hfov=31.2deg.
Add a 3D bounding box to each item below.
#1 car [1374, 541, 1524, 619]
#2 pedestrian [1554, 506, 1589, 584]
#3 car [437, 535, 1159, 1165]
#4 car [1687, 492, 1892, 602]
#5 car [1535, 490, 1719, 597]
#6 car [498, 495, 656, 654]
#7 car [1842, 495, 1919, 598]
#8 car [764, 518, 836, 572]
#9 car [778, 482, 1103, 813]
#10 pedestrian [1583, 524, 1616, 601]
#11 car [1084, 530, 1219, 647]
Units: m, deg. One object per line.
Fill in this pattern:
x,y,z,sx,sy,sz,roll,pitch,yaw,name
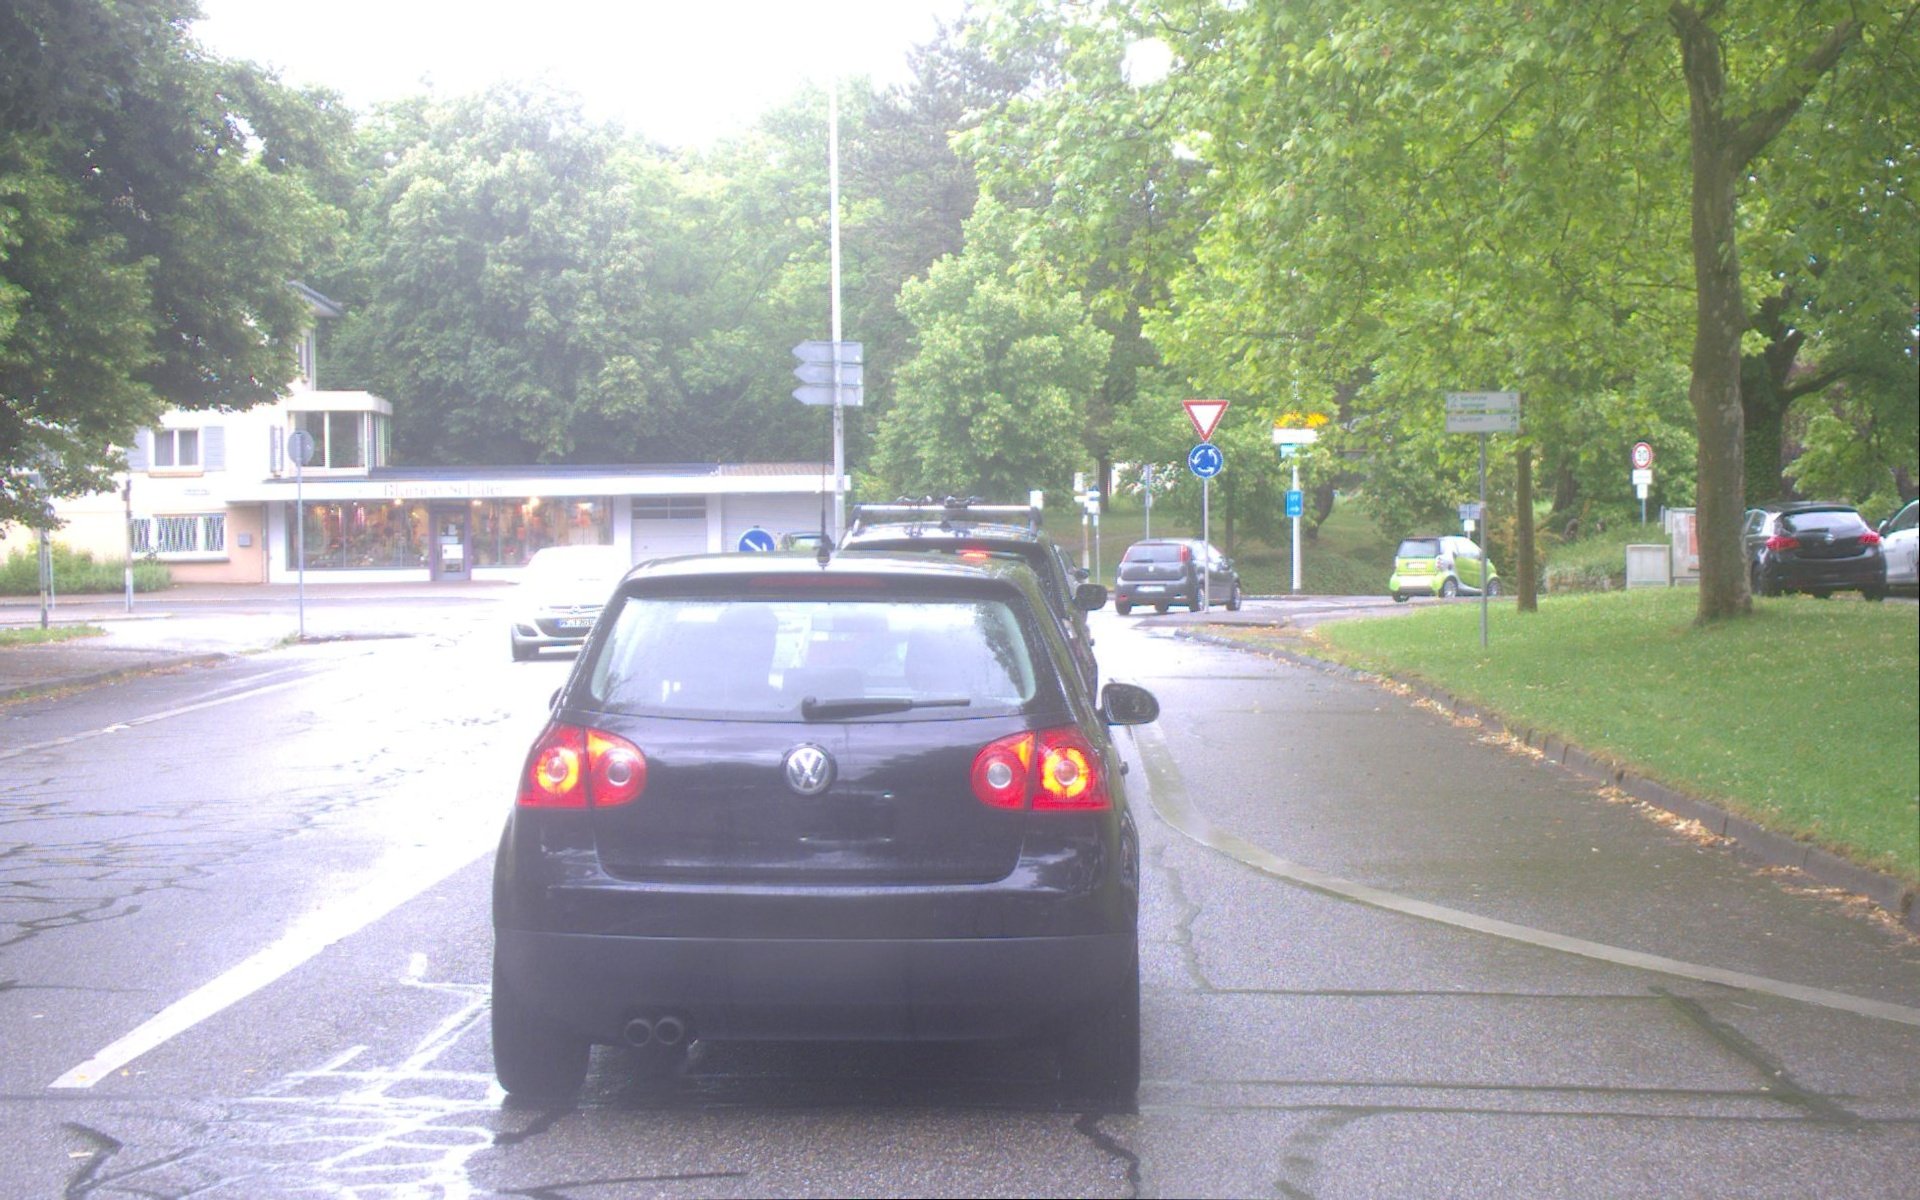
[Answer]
11.401,-0.467,80.045,1.818,1.744,3.992,1,1,35,car
13.511,-1.218,75.950,0.528,1.707,0.636,1,0,-14,pedestrian
-0.423,0.598,10.503,1.764,1.533,4.000,1,1,-1,car
12.010,-0.760,50.073,1.764,1.466,4.598,-2,1,-1,car
12.330,-1.079,63.845,1.993,1.735,4.145,3,2,-8,car
-5.154,-0.350,46.334,1.993,2.007,4.575,1,1,-6,car
14.468,-0.803,50.315,1.845,1.466,4.426,-2,1,-2,car
-4.611,-1.593,98.693,1.812,1.481,3.832,-2,1,-6,car
-0.131,0.242,21.239,1.764,1.795,4.246,-2,1,-1,car
14.238,-0.832,76.547,0.634,1.707,0.529,1,0,17,pedestrian
3.677,-0.191,66.857,1.994,1.524,3.999,-15,-3,-2,car
